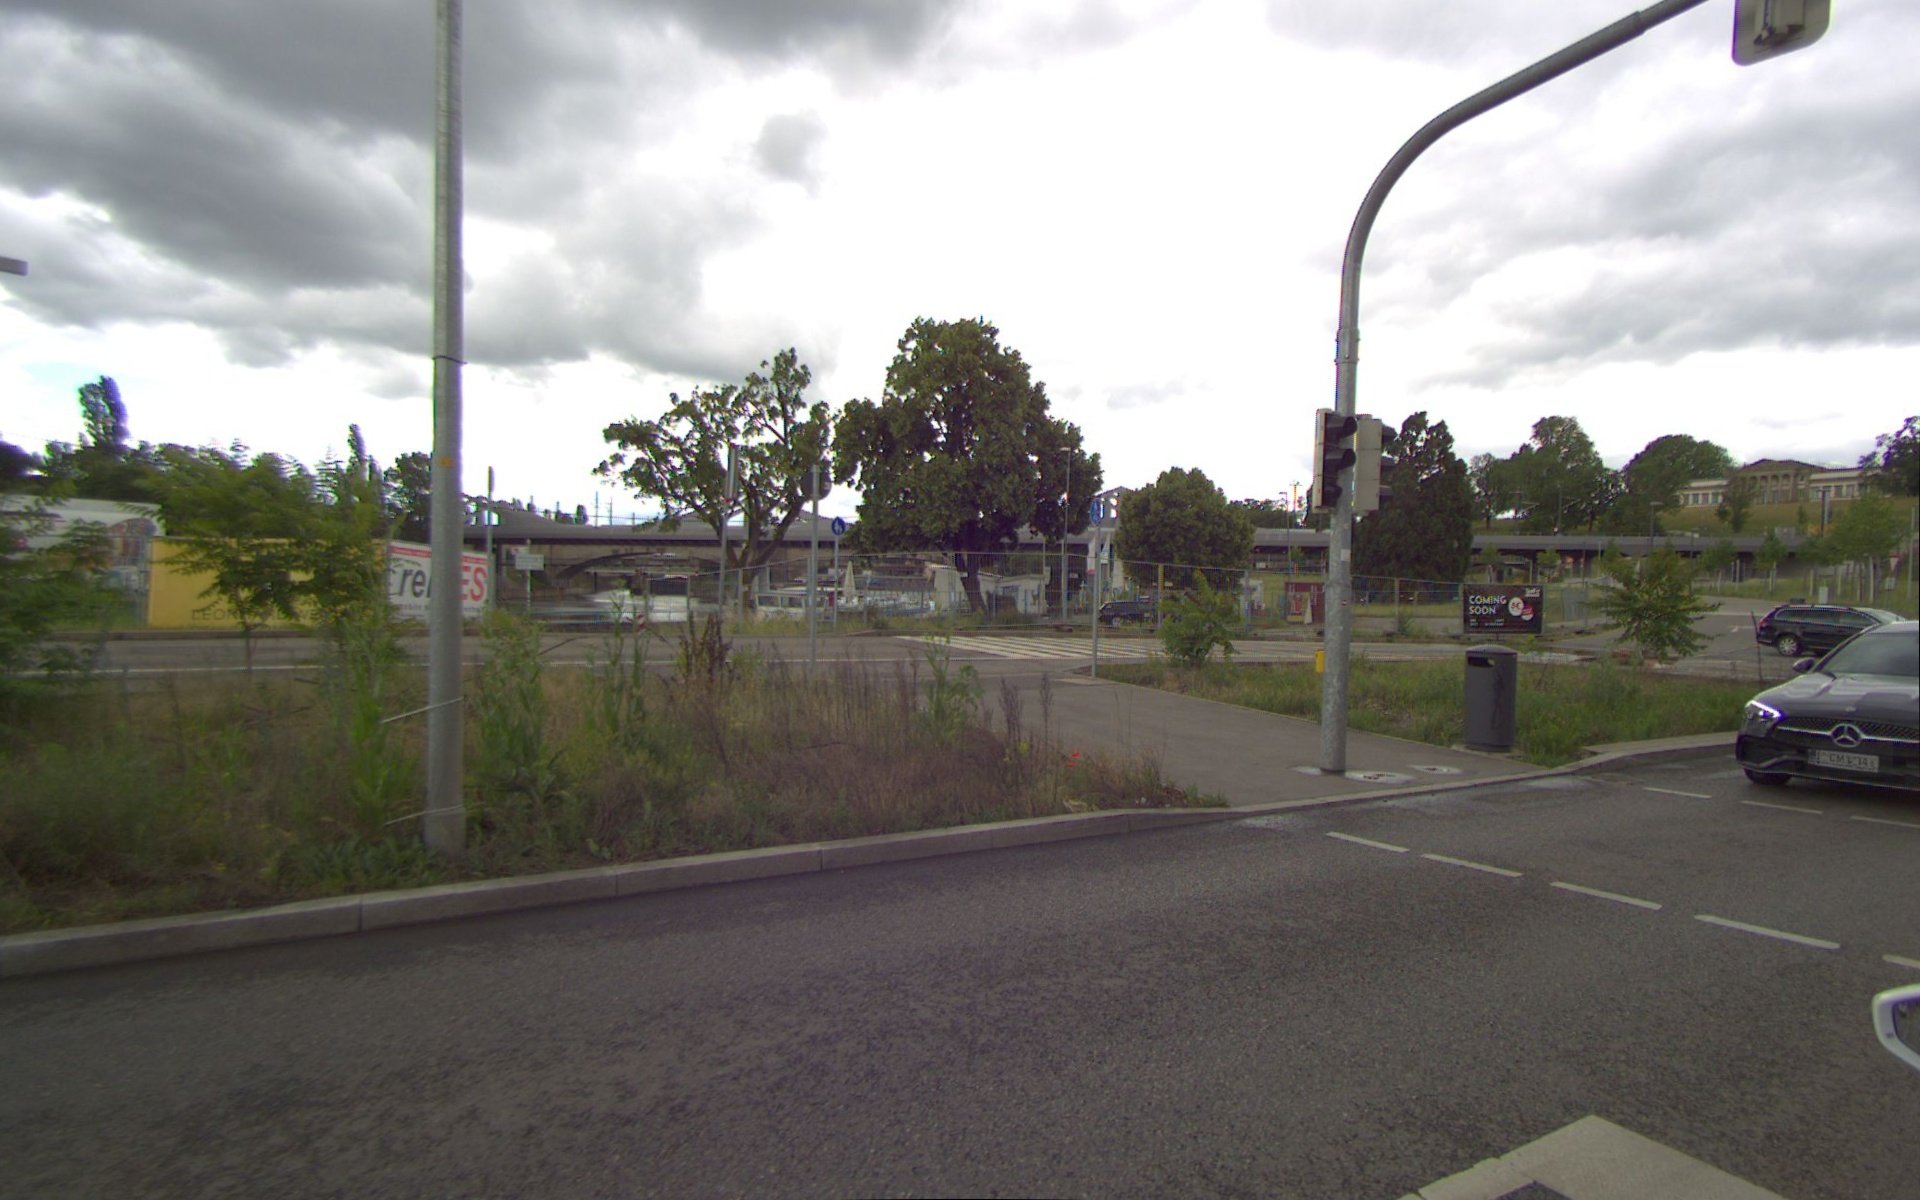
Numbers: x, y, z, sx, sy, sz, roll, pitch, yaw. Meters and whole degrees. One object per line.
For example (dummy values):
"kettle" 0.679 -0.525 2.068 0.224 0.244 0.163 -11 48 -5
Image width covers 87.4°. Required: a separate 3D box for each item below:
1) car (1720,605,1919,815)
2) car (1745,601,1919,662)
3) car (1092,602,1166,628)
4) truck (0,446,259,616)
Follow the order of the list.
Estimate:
"car" 8.816 0.870 8.994 4.394 1.549 1.721 1 0 -31
"car" 25.209 0.829 28.180 1.969 1.497 4.703 0 1 -20
"car" 9.241 0.824 55.192 3.842 1.309 1.805 1 1 4
"truck" -20.050 -1.379 20.993 2.753 3.381 8.457 0 1 32
